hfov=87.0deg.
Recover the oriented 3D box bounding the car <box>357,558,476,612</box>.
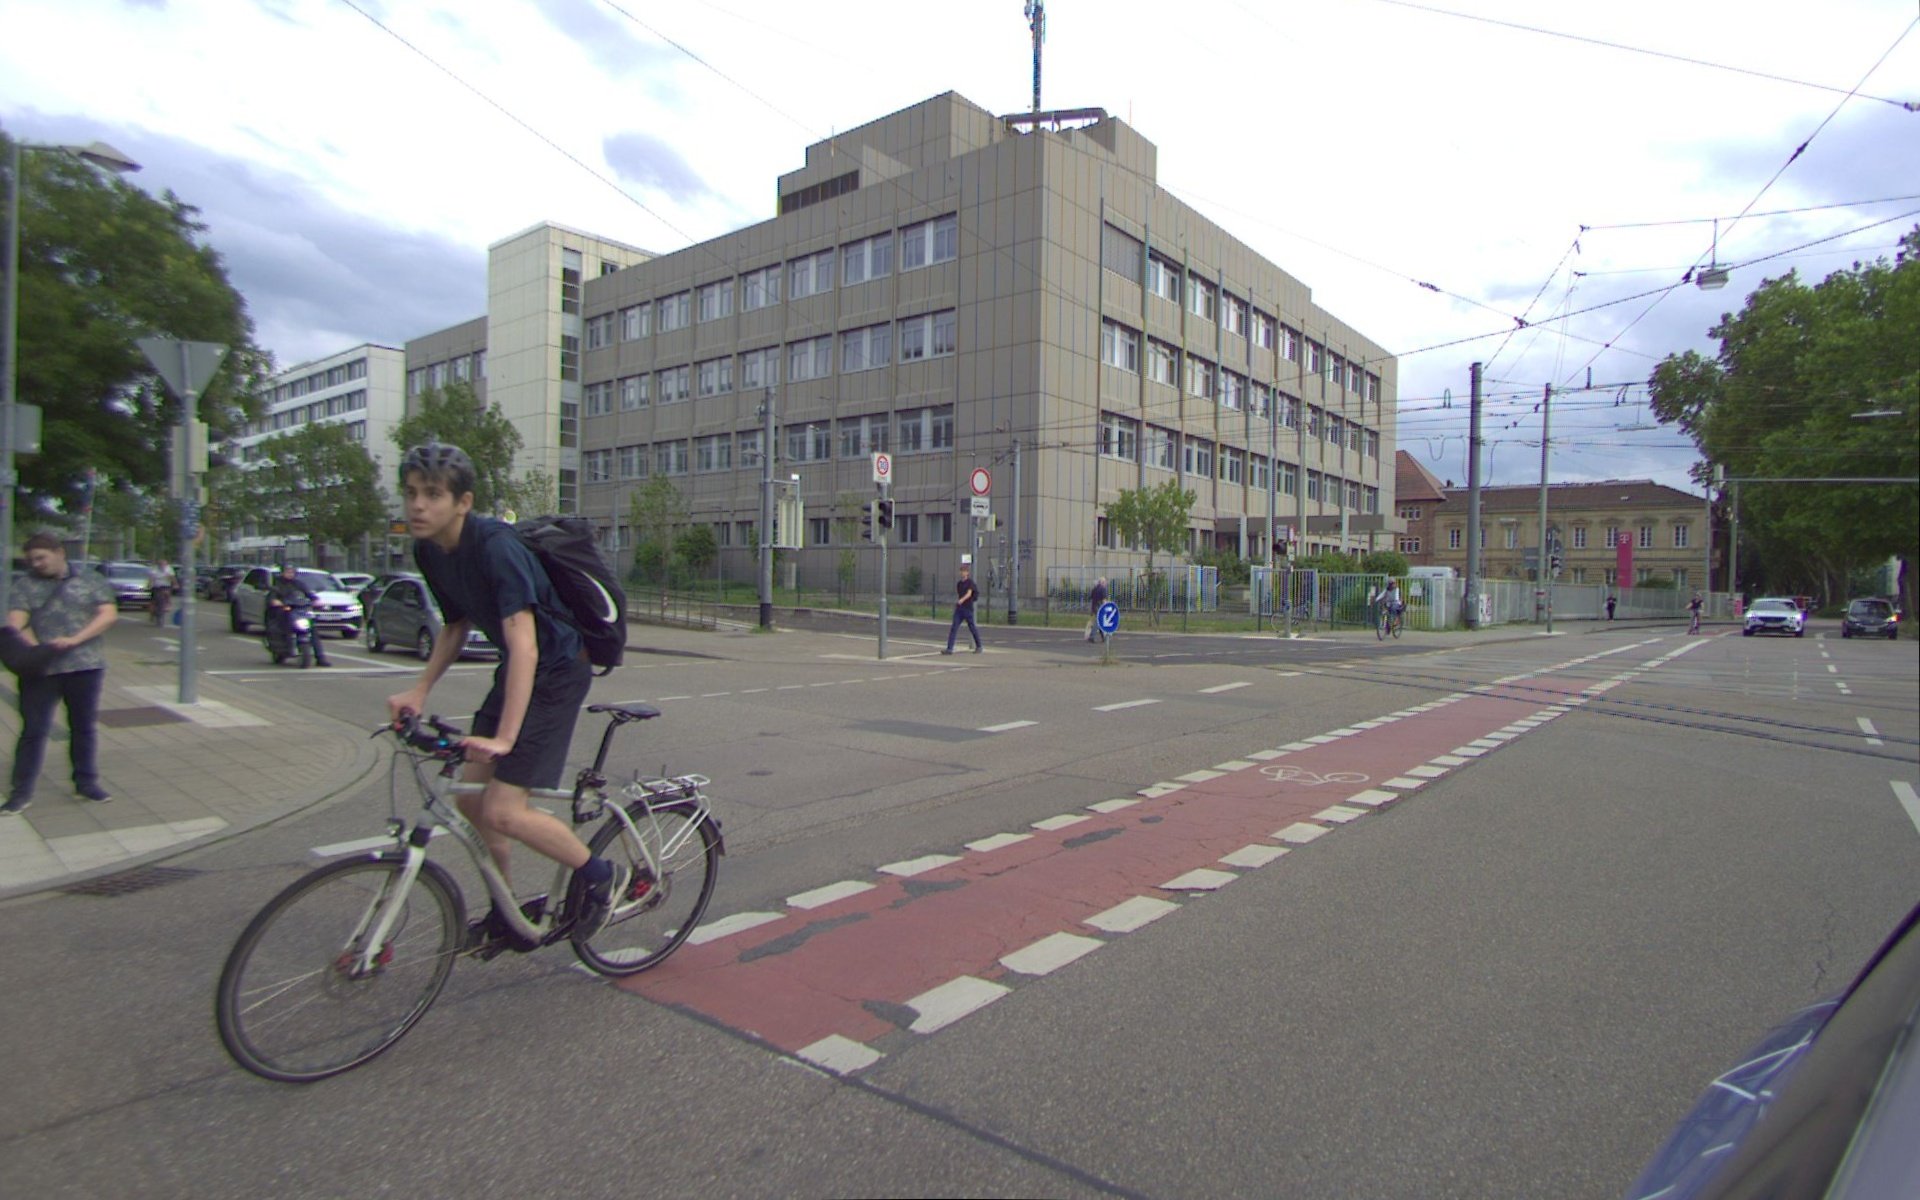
[{"bbox_3d":[-17.969,-0.536,33.422,4.060,1.648,1.862,2,2,35],"label":"car"}]

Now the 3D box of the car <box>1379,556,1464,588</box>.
[{"bbox_3d":[37.450,-2.264,82.162,5.866,2.429,2.535,2,1,37],"label":"car"}]

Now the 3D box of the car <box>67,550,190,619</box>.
[{"bbox_3d":[-22.267,-0.425,27.049,4.112,1.681,1.696,2,-1,39],"label":"car"}]

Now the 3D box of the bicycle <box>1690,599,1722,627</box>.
[{"bbox_3d":[30.741,0.531,41.692,0.800,1.100,2.523,2,2,42],"label":"bicycle"}]

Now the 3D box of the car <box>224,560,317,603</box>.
[{"bbox_3d":[-28.512,-0.786,41.824,4.185,1.625,1.851,2,2,35],"label":"car"}]

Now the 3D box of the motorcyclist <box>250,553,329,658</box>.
[{"bbox_3d":[-10.870,0.084,16.404,0.878,1.637,0.810,2,0,39],"label":"motorcyclist"}]

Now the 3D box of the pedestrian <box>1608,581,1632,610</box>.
[{"bbox_3d":[36.324,-0.246,55.702,0.964,1.589,0.882,0,1,-45],"label":"pedestrian"}]

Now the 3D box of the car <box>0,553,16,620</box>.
[{"bbox_3d":[-24.871,-0.409,24.883,4.196,1.576,1.809,2,0,39],"label":"car"}]

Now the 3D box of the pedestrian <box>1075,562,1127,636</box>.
[{"bbox_3d":[3.689,-0.043,26.468,0.975,1.878,0.900,0,1,-41],"label":"pedestrian"}]

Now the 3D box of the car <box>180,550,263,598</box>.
[{"bbox_3d":[-32.699,-1.179,44.782,4.094,2.012,1.769,2,1,35],"label":"car"}]

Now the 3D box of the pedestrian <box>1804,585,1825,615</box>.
[{"bbox_3d":[54.148,0.011,64.137,1.230,1.888,0.835,1,1,-41],"label":"pedestrian"}]

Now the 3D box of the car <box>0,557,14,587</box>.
[{"bbox_3d":[-53.404,-1.585,55.390,4.121,1.605,1.771,2,0,39],"label":"car"}]

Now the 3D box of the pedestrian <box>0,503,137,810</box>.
[{"bbox_3d":[-5.980,0.334,6.659,0.822,1.888,0.764,0,1,-43],"label":"pedestrian"}]

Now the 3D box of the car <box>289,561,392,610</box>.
[{"bbox_3d":[-22.423,-0.554,36.583,4.052,1.625,1.689,2,2,35],"label":"car"}]

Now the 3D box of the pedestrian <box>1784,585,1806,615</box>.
[{"bbox_3d":[53.361,0.017,64.673,1.155,1.888,0.835,1,1,-41],"label":"pedestrian"}]

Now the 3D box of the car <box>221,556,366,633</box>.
[{"bbox_3d":[-16.086,-0.153,24.356,4.112,1.681,1.696,2,-1,39],"label":"car"}]

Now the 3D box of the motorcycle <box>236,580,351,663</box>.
[{"bbox_3d":[-10.775,0.314,16.312,2.490,1.215,0.816,2,0,39],"label":"motorcycle"}]

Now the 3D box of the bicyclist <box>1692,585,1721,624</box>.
[{"bbox_3d":[30.718,0.180,41.645,0.800,1.569,1.308,2,1,42],"label":"bicyclist"}]

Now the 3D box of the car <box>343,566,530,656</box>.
[{"bbox_3d":[-10.273,0.169,19.732,4.214,1.525,1.649,2,0,39],"label":"car"}]

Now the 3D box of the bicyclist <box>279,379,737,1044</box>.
[{"bbox_3d":[-1.517,0.292,3.467,0.796,1.808,1.213,2,1,45],"label":"bicyclist"}]

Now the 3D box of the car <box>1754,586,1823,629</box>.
[{"bbox_3d":[32.555,0.264,39.730,1.992,1.523,4.355,2,1,40],"label":"car"}]

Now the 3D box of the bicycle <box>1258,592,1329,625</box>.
[{"bbox_3d":[10.872,0.275,33.022,2.115,0.993,0.635,-1,1,-7],"label":"bicycle"}]

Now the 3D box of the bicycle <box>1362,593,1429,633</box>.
[{"bbox_3d":[12.809,0.375,29.728,2.143,1.100,0.803,0,1,-36],"label":"bicycle"}]

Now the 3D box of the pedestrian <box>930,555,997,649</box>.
[{"bbox_3d":[0.083,0.018,21.359,0.899,1.922,1.072,2,1,44],"label":"pedestrian"}]

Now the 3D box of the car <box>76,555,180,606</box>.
[{"bbox_3d":[-28.529,-0.681,34.669,4.161,1.605,1.882,2,0,39],"label":"car"}]

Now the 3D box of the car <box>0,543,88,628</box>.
[{"bbox_3d":[-19.188,-0.331,20.293,4.196,1.576,1.809,2,0,39],"label":"car"}]

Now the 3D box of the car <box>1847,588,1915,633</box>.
[{"bbox_3d":[35.426,0.368,38.912,1.831,1.586,4.351,2,1,43],"label":"car"}]

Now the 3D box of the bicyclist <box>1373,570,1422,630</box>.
[{"bbox_3d":[12.849,-0.014,29.735,1.160,1.722,0.803,0,1,-36],"label":"bicyclist"}]

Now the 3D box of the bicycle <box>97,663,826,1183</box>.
[{"bbox_3d":[-1.549,0.845,3.466,2.096,1.100,0.801,0,2,-44],"label":"bicycle"}]
